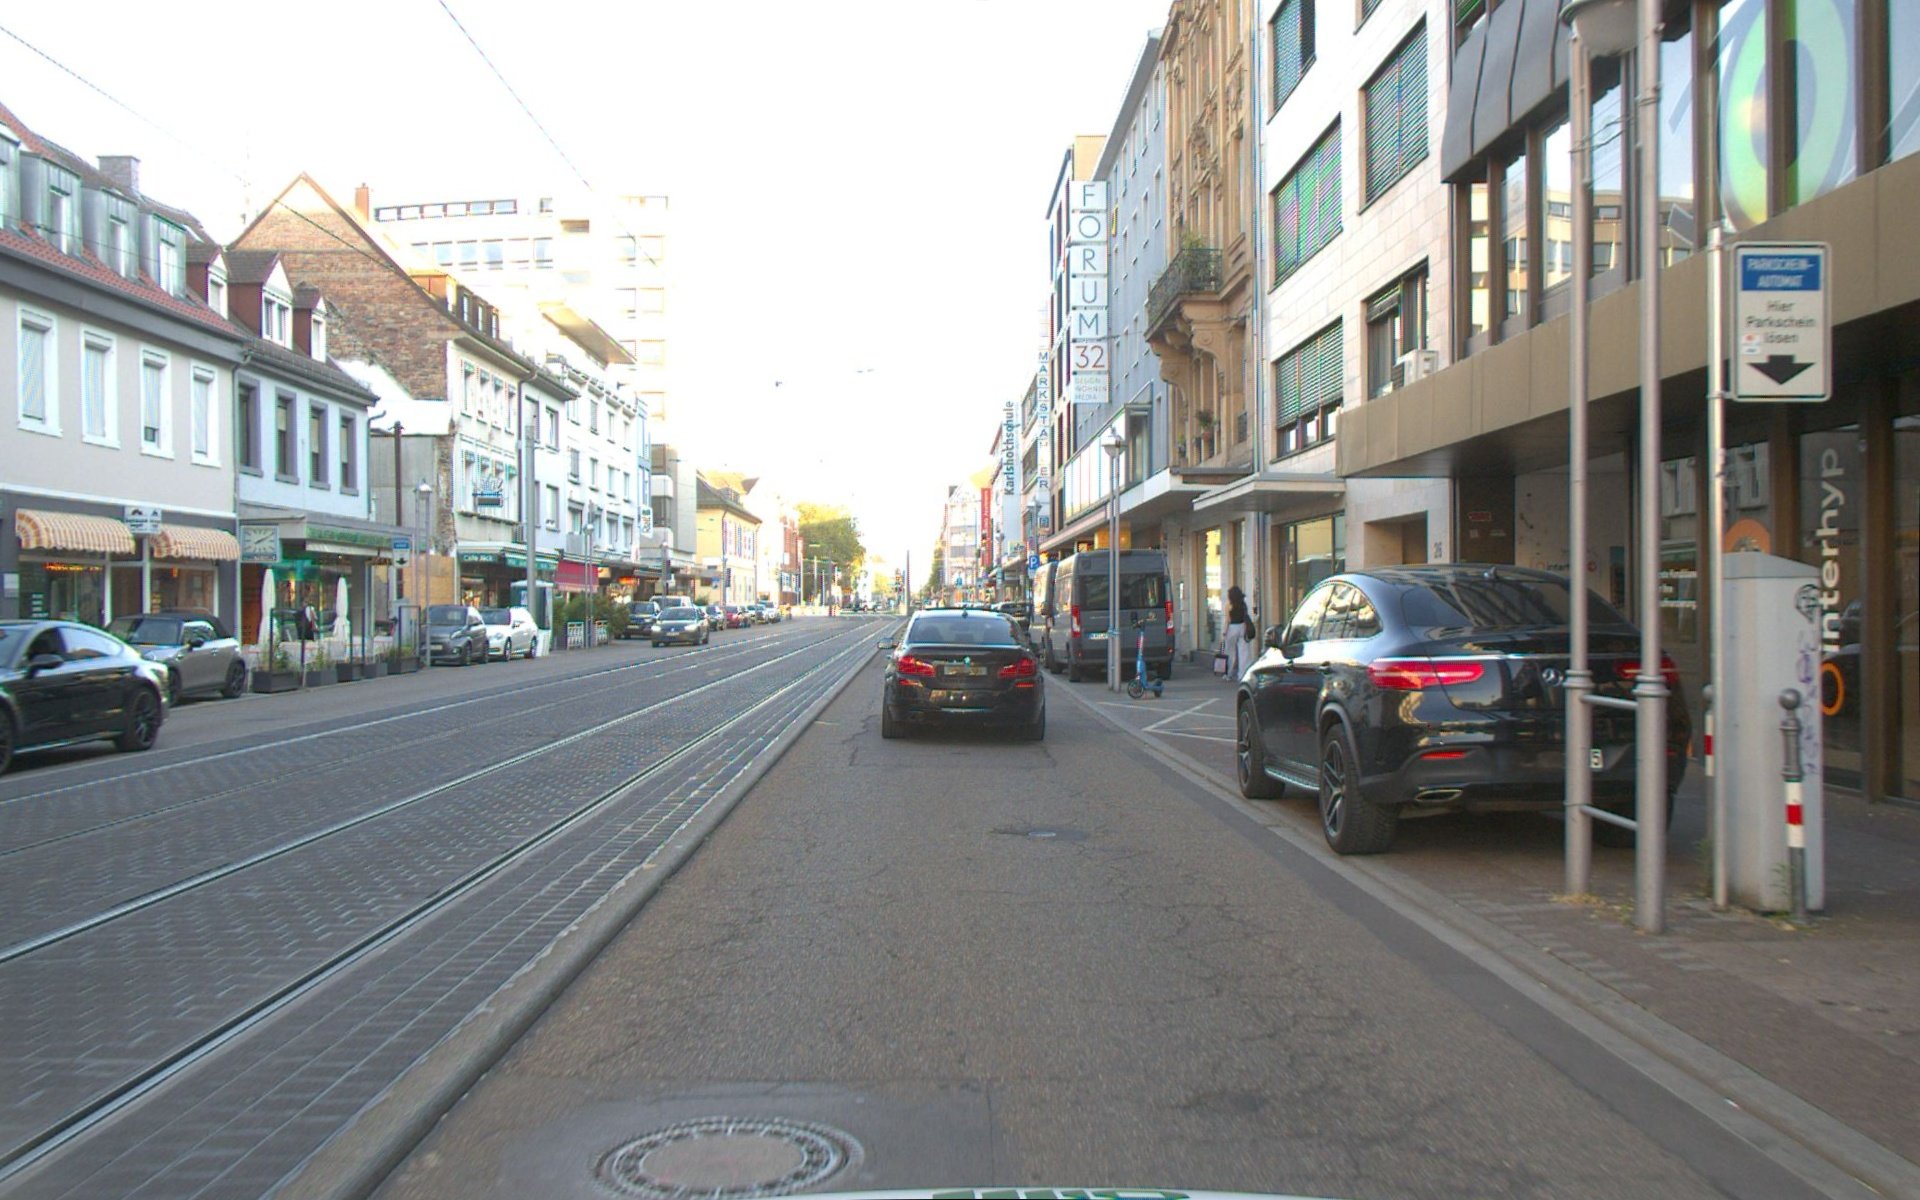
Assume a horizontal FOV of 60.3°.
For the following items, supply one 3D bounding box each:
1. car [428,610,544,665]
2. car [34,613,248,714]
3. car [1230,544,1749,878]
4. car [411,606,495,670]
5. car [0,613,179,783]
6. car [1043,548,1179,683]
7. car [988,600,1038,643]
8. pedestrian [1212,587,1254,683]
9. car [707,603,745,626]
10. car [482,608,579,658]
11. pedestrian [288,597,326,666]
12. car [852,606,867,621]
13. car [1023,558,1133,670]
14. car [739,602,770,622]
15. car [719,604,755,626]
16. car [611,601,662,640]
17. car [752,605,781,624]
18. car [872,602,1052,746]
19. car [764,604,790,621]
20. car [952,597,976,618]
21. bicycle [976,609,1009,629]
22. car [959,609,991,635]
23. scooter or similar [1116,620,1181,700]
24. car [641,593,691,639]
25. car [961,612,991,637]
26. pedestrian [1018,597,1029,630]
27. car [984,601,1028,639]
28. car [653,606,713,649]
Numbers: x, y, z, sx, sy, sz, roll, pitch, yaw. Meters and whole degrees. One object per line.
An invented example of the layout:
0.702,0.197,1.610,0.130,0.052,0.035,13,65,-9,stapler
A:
-13.529,1.040,47.524,1.953,1.478,4.821,0,0,0,car
-13.161,0.977,26.833,1.566,1.465,3.811,2,-1,-1,car
3.238,0.602,11.214,1.953,1.757,4.564,-1,0,-1,car
-13.193,0.970,43.190,1.447,1.605,2.793,-1,0,-3,car
-9.538,0.911,16.024,1.954,1.478,4.645,-2,0,-4,car
3.023,0.300,34.375,2.050,2.498,6.030,-2,0,-2,car
1.993,0.804,63.238,1.621,1.564,3.884,-2,0,-2,car
4.933,0.631,29.913,0.539,1.672,0.533,-4,1,-1,pedestrian
-15.042,0.932,106.386,1.889,1.460,4.245,1,0,-1,car
-13.549,1.017,52.437,1.953,1.478,4.329,0,0,0,car
-15.904,0.757,40.283,0.649,1.673,0.694,0,0,-1,pedestrian
-13.938,1.887,229.068,1.953,1.870,3.998,0,-3,-1,car
2.827,0.321,40.721,1.993,2.498,5.406,-2,0,-3,car
-15.527,0.888,125.048,1.889,1.460,4.245,0,0,-1,car
-14.992,1.014,111.446,1.889,1.460,4.245,1,0,-1,car
-14.443,0.905,73.990,1.830,1.714,3.995,0,0,-6,car
-15.358,1.168,131.231,1.889,1.460,4.245,1,0,-1,car
0.031,0.802,20.010,1.913,1.524,4.464,1,0,0,car
-16.051,1.111,145.185,1.889,1.460,4.245,1,0,-1,car
0.286,0.565,122.714,1.738,1.576,3.501,0,-1,-1,car
1.834,1.066,92.278,1.823,1.099,0.468,0,-2,-1,bicycle
0.898,1.373,101.696,1.864,1.576,3.998,0,-1,-1,car
3.059,0.951,26.765,0.490,1.241,1.260,-1,0,35,scooter or similar
-14.544,0.776,82.125,1.954,2.194,4.906,0,0,-4,car
1.017,1.617,108.376,1.864,1.576,3.779,0,-1,-1,car
3.477,0.750,90.826,0.543,1.823,0.759,-1,0,-1,pedestrian
1.875,0.813,68.249,1.528,1.467,3.707,-3,0,-2,car
-10.436,0.999,62.598,1.658,1.478,4.463,-1,1,-2,car
